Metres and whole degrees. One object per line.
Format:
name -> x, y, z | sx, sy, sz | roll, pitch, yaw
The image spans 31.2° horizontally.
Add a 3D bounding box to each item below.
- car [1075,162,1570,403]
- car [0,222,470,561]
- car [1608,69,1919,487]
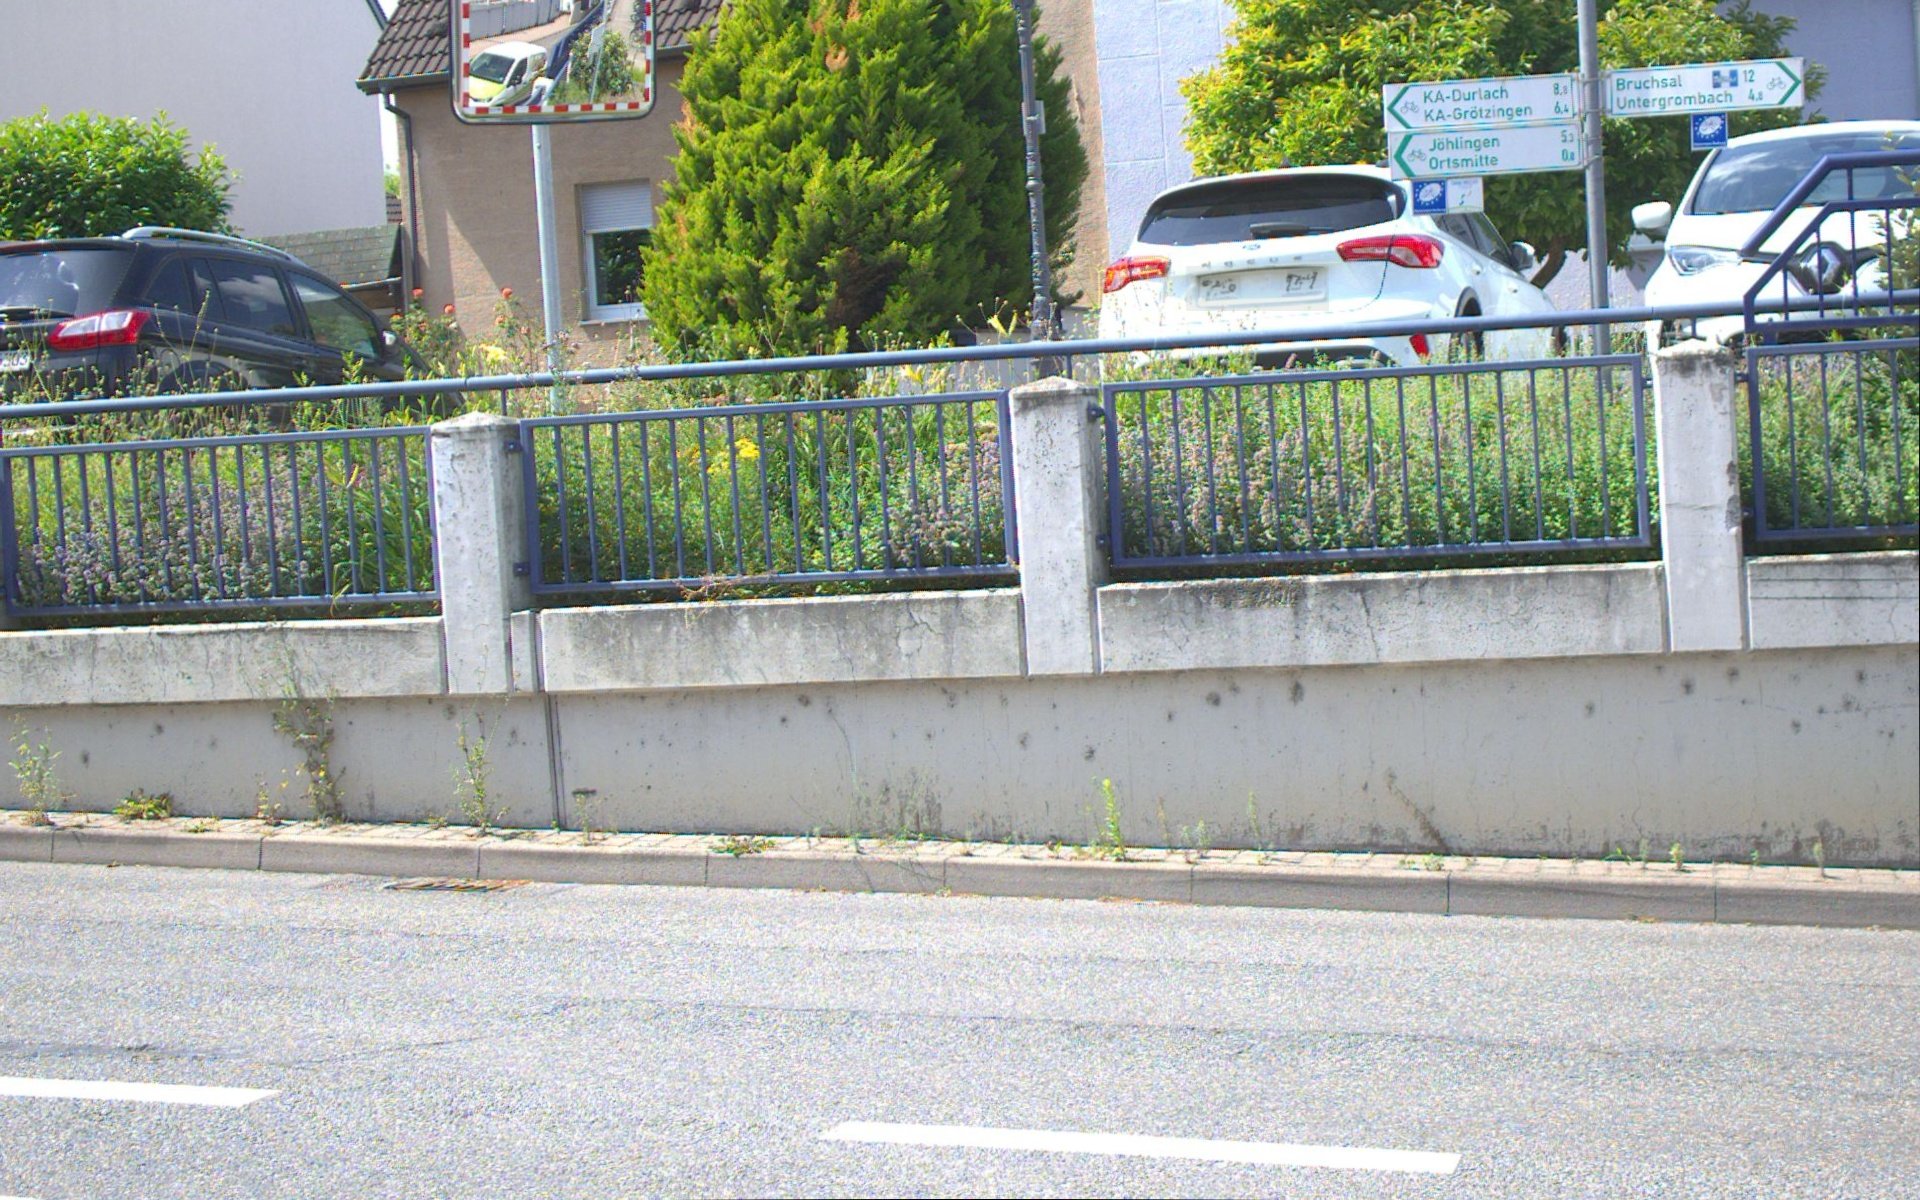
car -> 1.958, -1.573, 17.667 | 1.826, 1.016, 3.456 | 2, 2, 18
car -> -4.651, -1.188, 20.354 | 1.869, 1.791, 3.997 | 2, 2, 18
car -> 4.482, -1.454, 16.850 | 1.995, 1.791, 4.193 | 2, 2, 18
